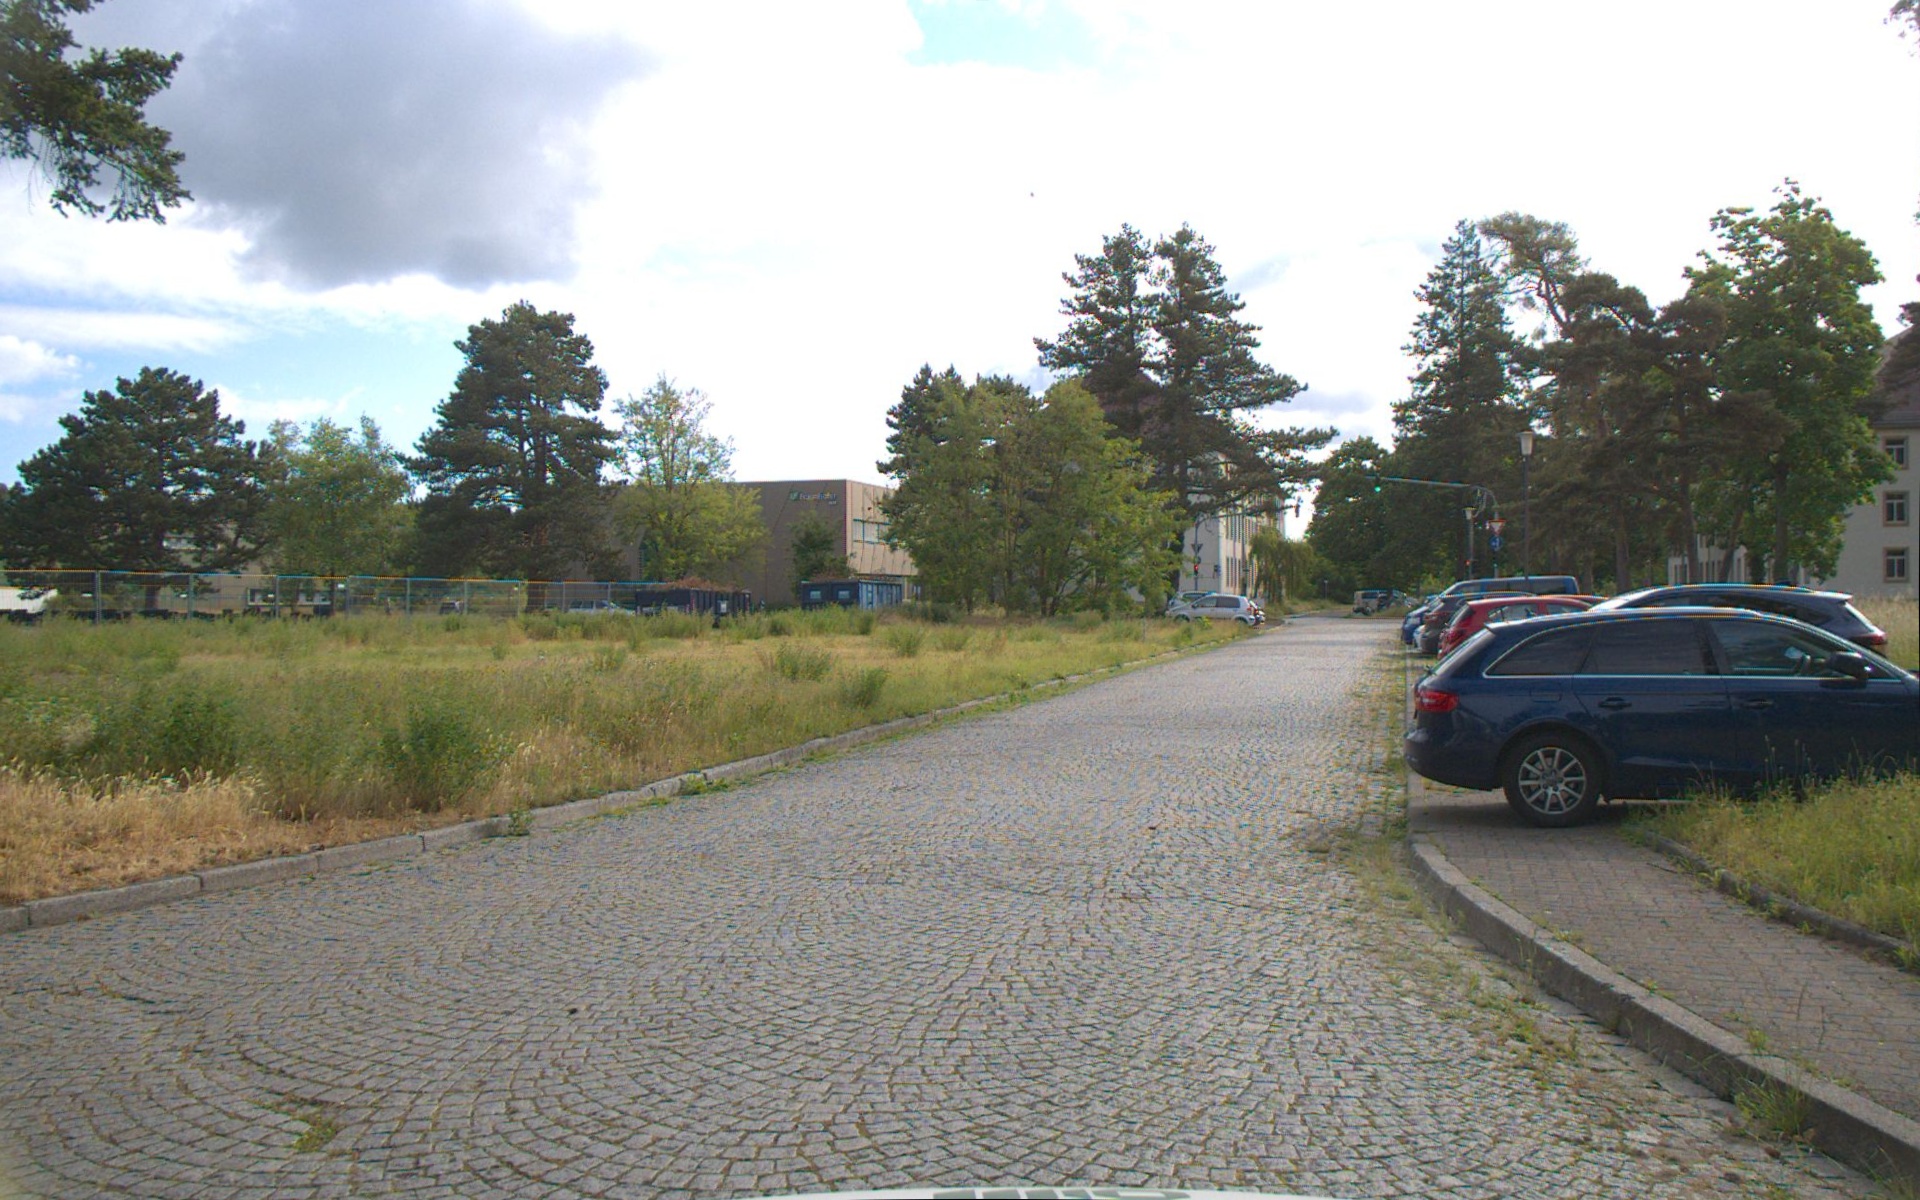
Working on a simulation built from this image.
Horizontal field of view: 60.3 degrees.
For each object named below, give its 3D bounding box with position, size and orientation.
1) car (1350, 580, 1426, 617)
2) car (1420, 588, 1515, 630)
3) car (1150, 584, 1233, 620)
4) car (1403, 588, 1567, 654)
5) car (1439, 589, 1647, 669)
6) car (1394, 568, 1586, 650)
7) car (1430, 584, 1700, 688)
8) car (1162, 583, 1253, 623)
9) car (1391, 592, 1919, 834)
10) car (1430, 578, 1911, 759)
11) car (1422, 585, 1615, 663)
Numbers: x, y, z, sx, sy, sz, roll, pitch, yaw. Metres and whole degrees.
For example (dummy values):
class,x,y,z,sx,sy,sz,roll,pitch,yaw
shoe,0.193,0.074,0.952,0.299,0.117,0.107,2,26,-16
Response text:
class,x,y,z,sx,sy,sz,roll,pitch,yaw
car,34.479,-0.116,133.370,5.657,2.607,2.772,-3,0,10
car,20.680,0.359,67.492,3.371,1.457,1.629,-3,0,5
car,10.468,0.084,74.837,3.640,1.463,1.628,-3,0,8
car,13.441,0.531,42.540,3.836,1.417,1.744,-3,0,14
car,11.736,0.585,33.534,3.857,1.547,1.708,-1,-1,16
car,14.249,0.241,44.747,4.718,1.898,2.163,-3,0,14
car,9.396,0.557,25.978,3.801,1.504,1.673,-1,0,15
car,10.399,0.122,69.371,3.640,1.463,1.628,-3,0,12
car,5.291,0.727,11.441,4.338,1.506,1.683,-1,0,19
car,6.719,0.632,16.107,4.050,1.600,1.792,-1,1,14
car,12.122,0.513,36.115,3.822,1.631,1.822,0,0,13
